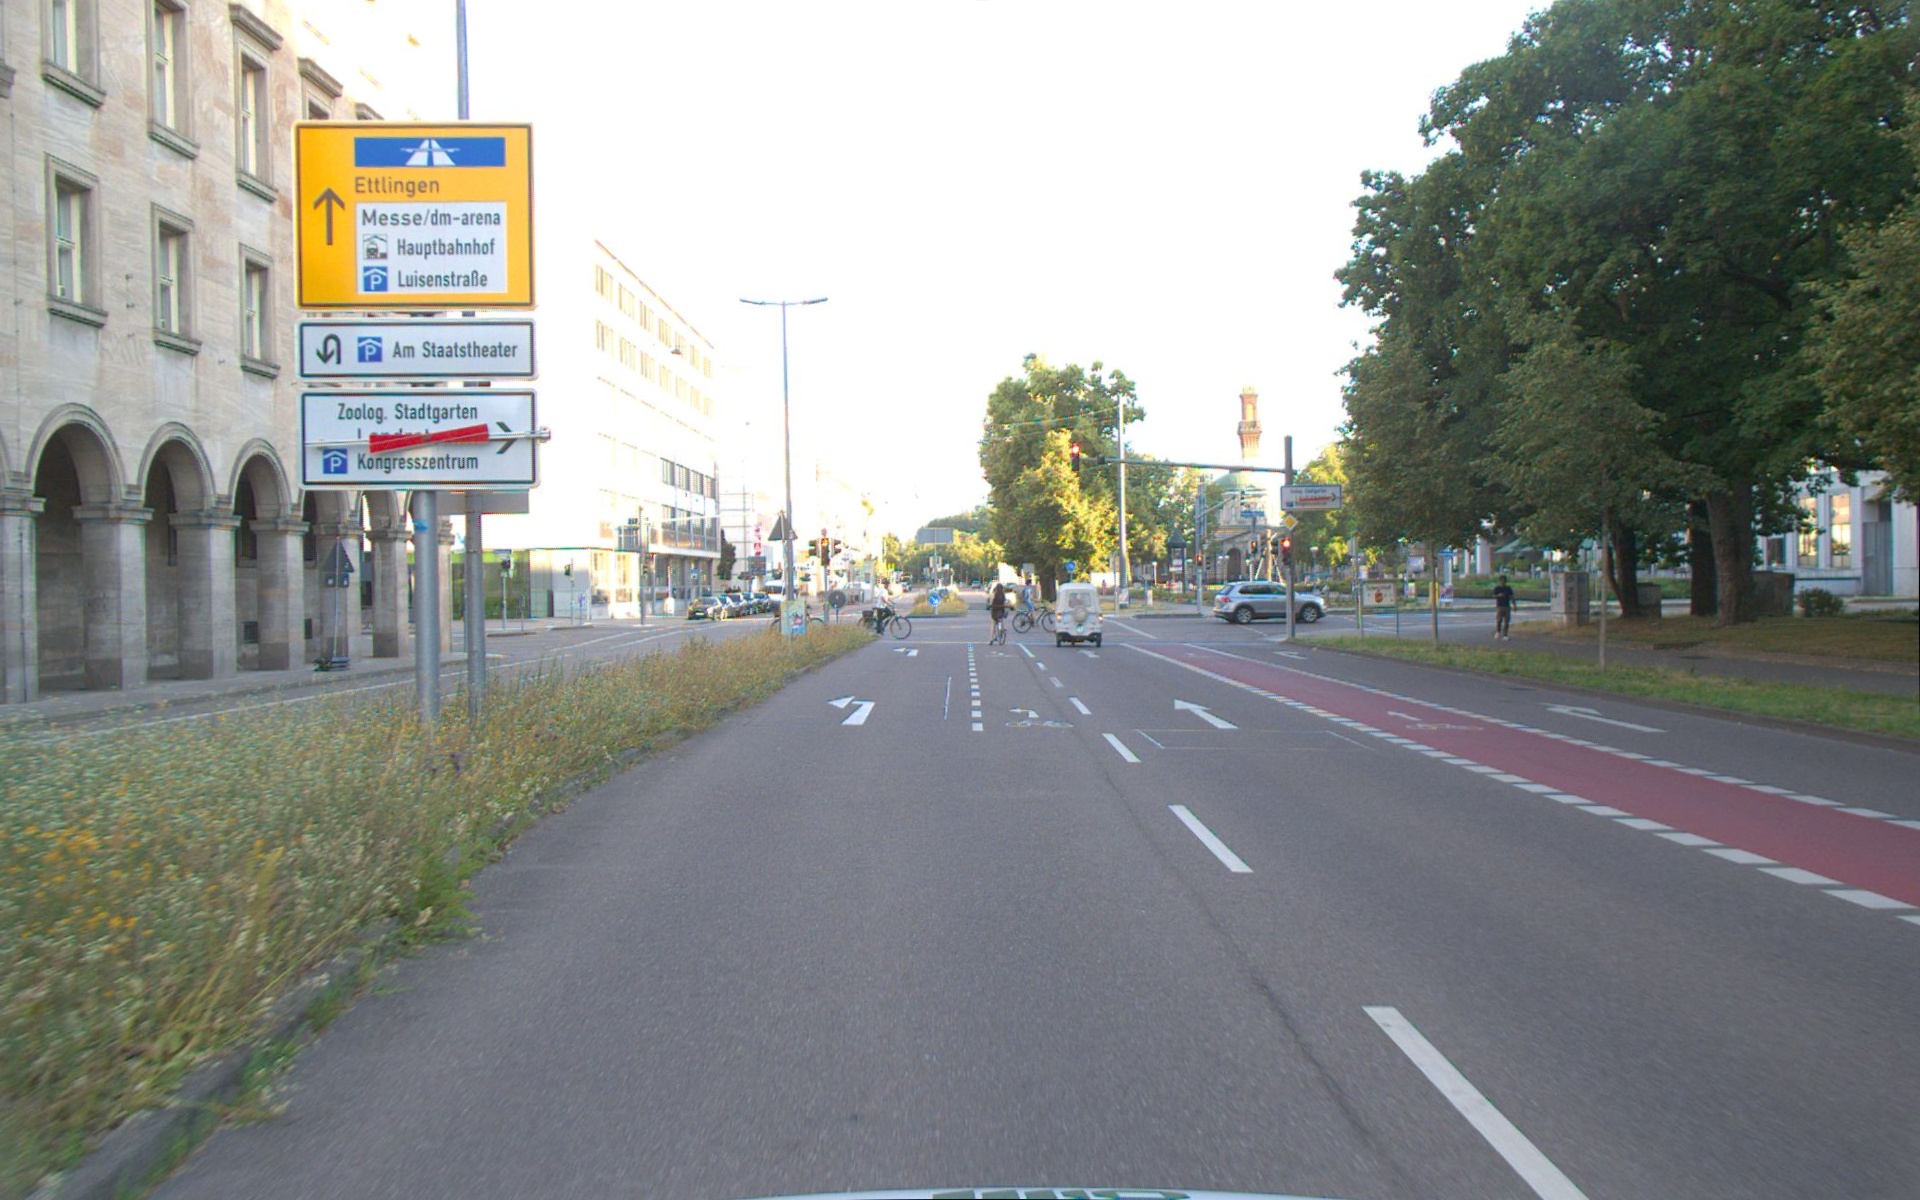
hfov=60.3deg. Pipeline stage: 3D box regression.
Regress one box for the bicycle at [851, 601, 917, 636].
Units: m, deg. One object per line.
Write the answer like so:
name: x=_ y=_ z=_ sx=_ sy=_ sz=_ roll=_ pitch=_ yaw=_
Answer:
bicycle: x=-2.456 y=0.597 z=53.409 sx=2.014 sy=1.087 sz=0.787 roll=-1 pitch=0 yaw=7

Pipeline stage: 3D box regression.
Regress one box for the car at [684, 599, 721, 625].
car: x=-16.615 y=0.800 z=106.731 sx=1.759 sy=1.501 sz=3.999 roll=-1 pitch=-2 yaw=-1

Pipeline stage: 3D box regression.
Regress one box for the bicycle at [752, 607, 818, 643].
bicycle: x=-5.437 y=0.771 z=51.541 sx=1.973 sy=1.088 sz=0.731 roll=0 pitch=-1 yaw=0

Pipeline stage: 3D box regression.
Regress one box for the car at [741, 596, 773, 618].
car: x=-15.918 y=0.565 z=129.572 sx=1.758 sy=1.501 sz=4.001 roll=-2 pitch=-2 yaw=3

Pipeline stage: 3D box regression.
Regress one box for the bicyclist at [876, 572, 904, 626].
bicyclist: x=-2.262 y=-0.022 z=53.406 sx=0.730 sy=1.723 sz=0.766 roll=-1 pitch=0 yaw=7

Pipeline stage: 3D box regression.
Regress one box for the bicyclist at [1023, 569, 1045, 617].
bicyclist: x=2.663 y=-0.247 z=59.519 sx=0.730 sy=1.723 sz=0.715 roll=-1 pitch=0 yaw=3

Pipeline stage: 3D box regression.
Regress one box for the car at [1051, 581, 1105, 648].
car: x=3.332 y=0.387 z=46.908 sx=1.429 sy=1.811 sz=2.565 roll=-1 pitch=1 yaw=2

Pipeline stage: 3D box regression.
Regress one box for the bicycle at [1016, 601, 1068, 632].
bicycle: x=2.945 y=0.577 z=59.502 sx=1.857 sy=1.087 sz=0.731 roll=0 pitch=0 yaw=3

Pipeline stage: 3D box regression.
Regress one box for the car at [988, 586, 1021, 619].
car: x=2.865 y=0.134 z=107.665 sx=1.953 sy=2.049 sz=3.999 roll=-1 pitch=0 yaw=-1

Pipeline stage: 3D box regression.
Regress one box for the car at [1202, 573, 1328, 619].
car: x=11.905 y=-0.161 z=64.677 sx=4.448 sy=1.677 sz=1.996 roll=-1 pitch=0 yaw=-8

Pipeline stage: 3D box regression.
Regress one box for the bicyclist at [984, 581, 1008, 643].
bicyclist: x=1.034 y=0.337 z=47.162 sx=0.615 sy=1.723 sz=0.748 roll=-1 pitch=0 yaw=-1

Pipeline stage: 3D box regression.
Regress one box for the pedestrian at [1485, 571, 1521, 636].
pedestrian: x=14.743 y=0.091 z=44.924 sx=0.681 sy=1.723 sz=0.748 roll=-1 pitch=0 yaw=-1

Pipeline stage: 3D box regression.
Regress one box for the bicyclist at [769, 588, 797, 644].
bicyclist: x=-5.513 y=0.490 z=51.530 sx=0.731 sy=1.723 sz=0.715 roll=-1 pitch=0 yaw=0

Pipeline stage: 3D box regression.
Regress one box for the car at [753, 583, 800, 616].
car: x=-15.049 y=-0.003 z=136.170 sx=2.130 sy=2.427 sz=5.994 roll=-2 pitch=-2 yaw=11

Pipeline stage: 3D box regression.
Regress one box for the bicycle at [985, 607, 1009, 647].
bicycle: x=1.051 y=0.765 z=47.478 sx=0.624 sy=1.087 sz=2.069 roll=0 pitch=0 yaw=0

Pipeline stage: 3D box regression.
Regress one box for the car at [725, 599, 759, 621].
car: x=-16.239 y=0.748 z=123.170 sx=1.758 sy=1.501 sz=4.001 roll=-2 pitch=-2 yaw=4
